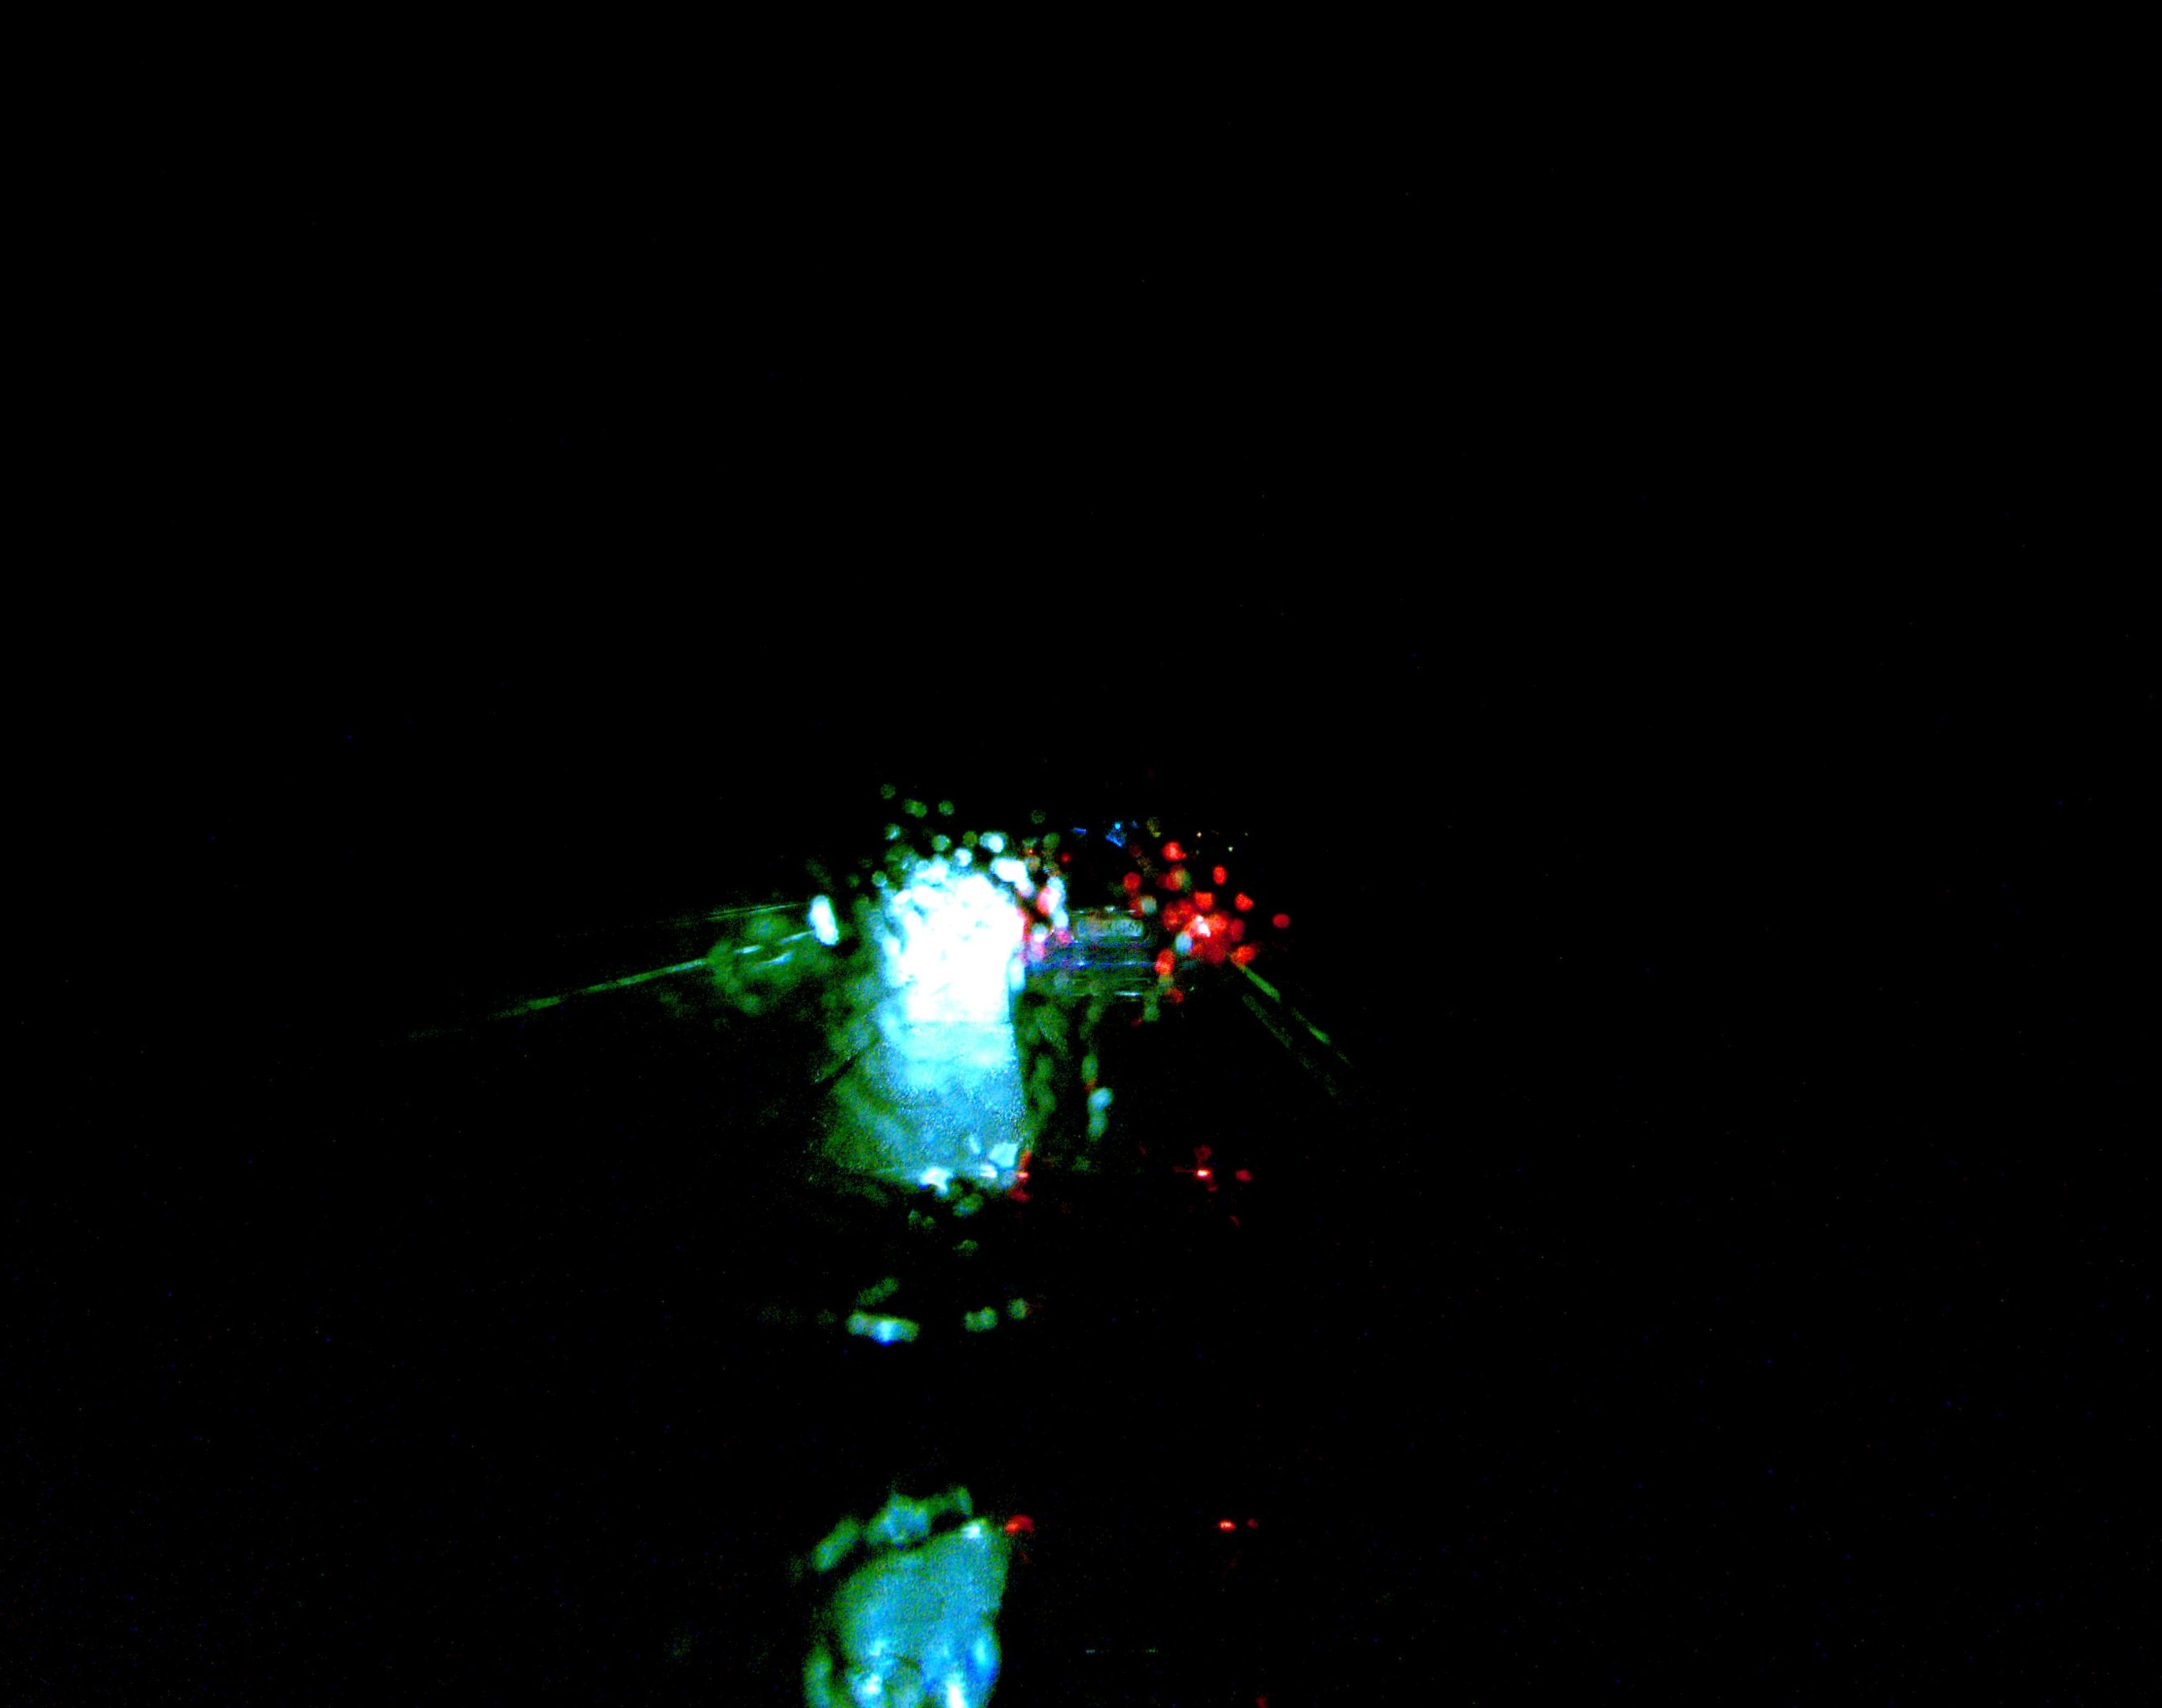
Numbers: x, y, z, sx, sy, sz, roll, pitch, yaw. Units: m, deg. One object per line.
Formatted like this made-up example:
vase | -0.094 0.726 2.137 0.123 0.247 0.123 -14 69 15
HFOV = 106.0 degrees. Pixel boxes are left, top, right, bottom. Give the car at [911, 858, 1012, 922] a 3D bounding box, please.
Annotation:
car | -2.991 0.851 21.311 1.897 1.470 4.275 1 0 1

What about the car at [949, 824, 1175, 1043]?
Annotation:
car | -0.069 0.653 8.434 1.768 1.712 4.002 -1 -1 2
